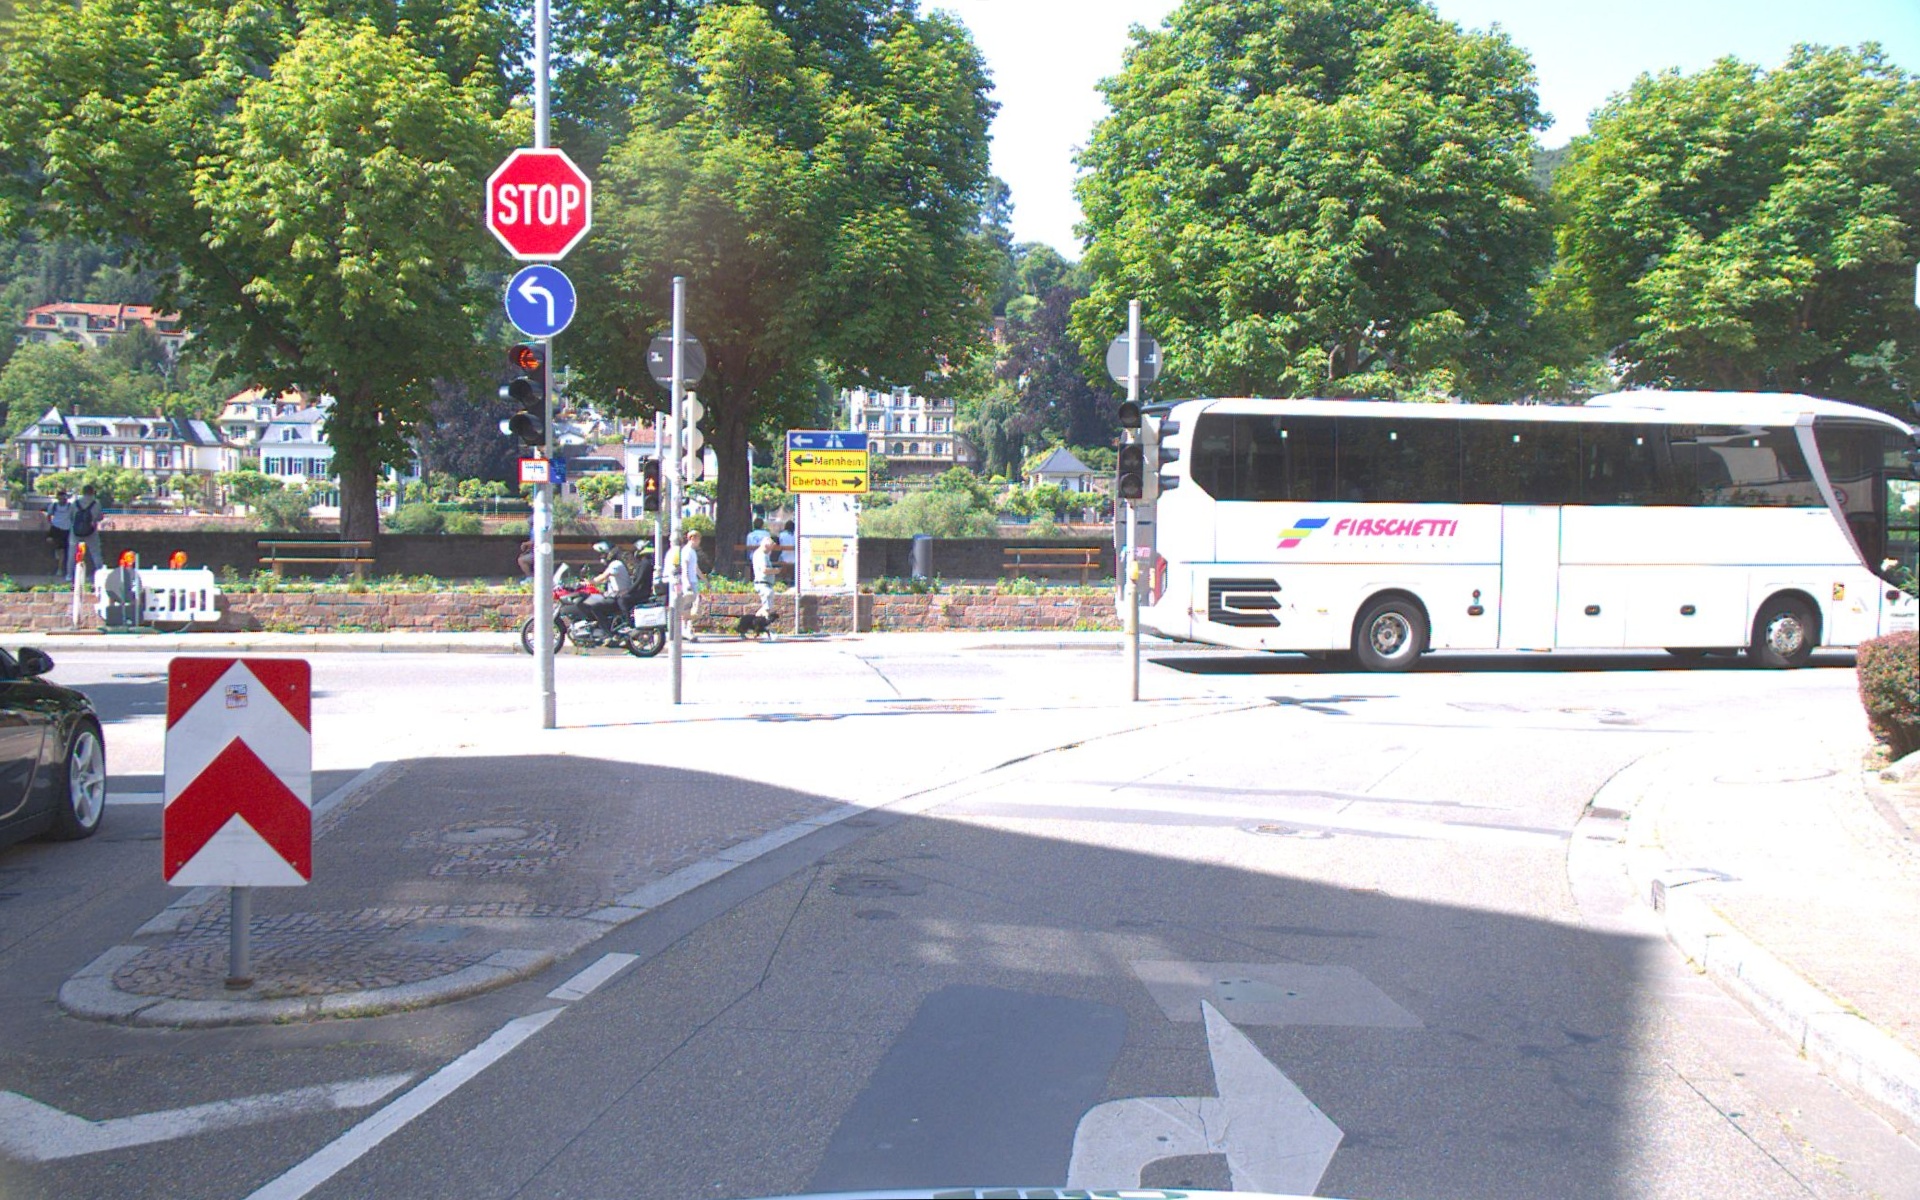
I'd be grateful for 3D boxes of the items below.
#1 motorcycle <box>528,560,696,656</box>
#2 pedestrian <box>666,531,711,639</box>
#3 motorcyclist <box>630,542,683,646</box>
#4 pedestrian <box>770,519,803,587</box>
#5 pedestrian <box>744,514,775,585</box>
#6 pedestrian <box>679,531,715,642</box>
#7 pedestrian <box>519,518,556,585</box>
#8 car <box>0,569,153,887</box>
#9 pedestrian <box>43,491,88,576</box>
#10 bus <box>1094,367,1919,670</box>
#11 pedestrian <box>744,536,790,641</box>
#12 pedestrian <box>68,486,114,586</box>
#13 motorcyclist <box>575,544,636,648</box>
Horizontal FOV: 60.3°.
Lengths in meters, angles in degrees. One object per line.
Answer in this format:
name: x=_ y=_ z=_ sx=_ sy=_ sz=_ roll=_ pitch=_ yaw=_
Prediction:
motorcycle: x=-5.165 y=0.109 z=24.635 sx=2.420 sy=1.400 sz=0.761 roll=0 pitch=1 yaw=-12
pedestrian: x=-4.690 y=-0.260 z=28.604 sx=0.708 sy=1.833 sz=0.633 roll=-1 pitch=0 yaw=-7
motorcyclist: x=-4.549 y=-0.099 z=24.763 sx=0.757 sy=1.519 sz=0.816 roll=0 pitch=1 yaw=-12
pedestrian: x=-3.417 y=-0.919 z=32.510 sx=0.543 sy=1.250 sz=0.984 roll=2 pitch=-2 yaw=-9
pedestrian: x=-3.877 y=-0.965 z=31.980 sx=0.542 sy=1.302 sz=0.702 roll=2 pitch=-2 yaw=-8
pedestrian: x=-4.431 y=-0.229 z=27.866 sx=0.567 sy=1.833 sz=0.704 roll=0 pitch=1 yaw=-7
pedestrian: x=-7.964 y=-0.917 z=31.164 sx=0.632 sy=1.249 sz=0.412 roll=0 pitch=1 yaw=-21
car: x=-5.350 y=0.632 z=7.560 sx=1.683 sy=1.487 sz=4.714 roll=-2 pitch=1 yaw=-10
pedestrian: x=-18.791 y=-1.381 z=34.751 sx=0.697 sy=1.762 sz=0.752 roll=1 pitch=0 yaw=-20
bus: x=8.050 y=-1.038 z=23.679 sx=11.924 sy=3.854 sz=2.899 roll=0 pitch=1 yaw=-12
pedestrian: x=-3.379 y=-0.200 z=28.877 sx=0.677 sy=1.800 sz=0.714 roll=-1 pitch=0 yaw=-16
pedestrian: x=-16.774 y=-1.230 z=31.951 sx=0.753 sy=1.890 sz=0.750 roll=1 pitch=0 yaw=-27
motorcyclist: x=-5.264 y=-0.072 z=24.596 sx=0.856 sy=1.520 sz=0.816 roll=0 pitch=1 yaw=-12
